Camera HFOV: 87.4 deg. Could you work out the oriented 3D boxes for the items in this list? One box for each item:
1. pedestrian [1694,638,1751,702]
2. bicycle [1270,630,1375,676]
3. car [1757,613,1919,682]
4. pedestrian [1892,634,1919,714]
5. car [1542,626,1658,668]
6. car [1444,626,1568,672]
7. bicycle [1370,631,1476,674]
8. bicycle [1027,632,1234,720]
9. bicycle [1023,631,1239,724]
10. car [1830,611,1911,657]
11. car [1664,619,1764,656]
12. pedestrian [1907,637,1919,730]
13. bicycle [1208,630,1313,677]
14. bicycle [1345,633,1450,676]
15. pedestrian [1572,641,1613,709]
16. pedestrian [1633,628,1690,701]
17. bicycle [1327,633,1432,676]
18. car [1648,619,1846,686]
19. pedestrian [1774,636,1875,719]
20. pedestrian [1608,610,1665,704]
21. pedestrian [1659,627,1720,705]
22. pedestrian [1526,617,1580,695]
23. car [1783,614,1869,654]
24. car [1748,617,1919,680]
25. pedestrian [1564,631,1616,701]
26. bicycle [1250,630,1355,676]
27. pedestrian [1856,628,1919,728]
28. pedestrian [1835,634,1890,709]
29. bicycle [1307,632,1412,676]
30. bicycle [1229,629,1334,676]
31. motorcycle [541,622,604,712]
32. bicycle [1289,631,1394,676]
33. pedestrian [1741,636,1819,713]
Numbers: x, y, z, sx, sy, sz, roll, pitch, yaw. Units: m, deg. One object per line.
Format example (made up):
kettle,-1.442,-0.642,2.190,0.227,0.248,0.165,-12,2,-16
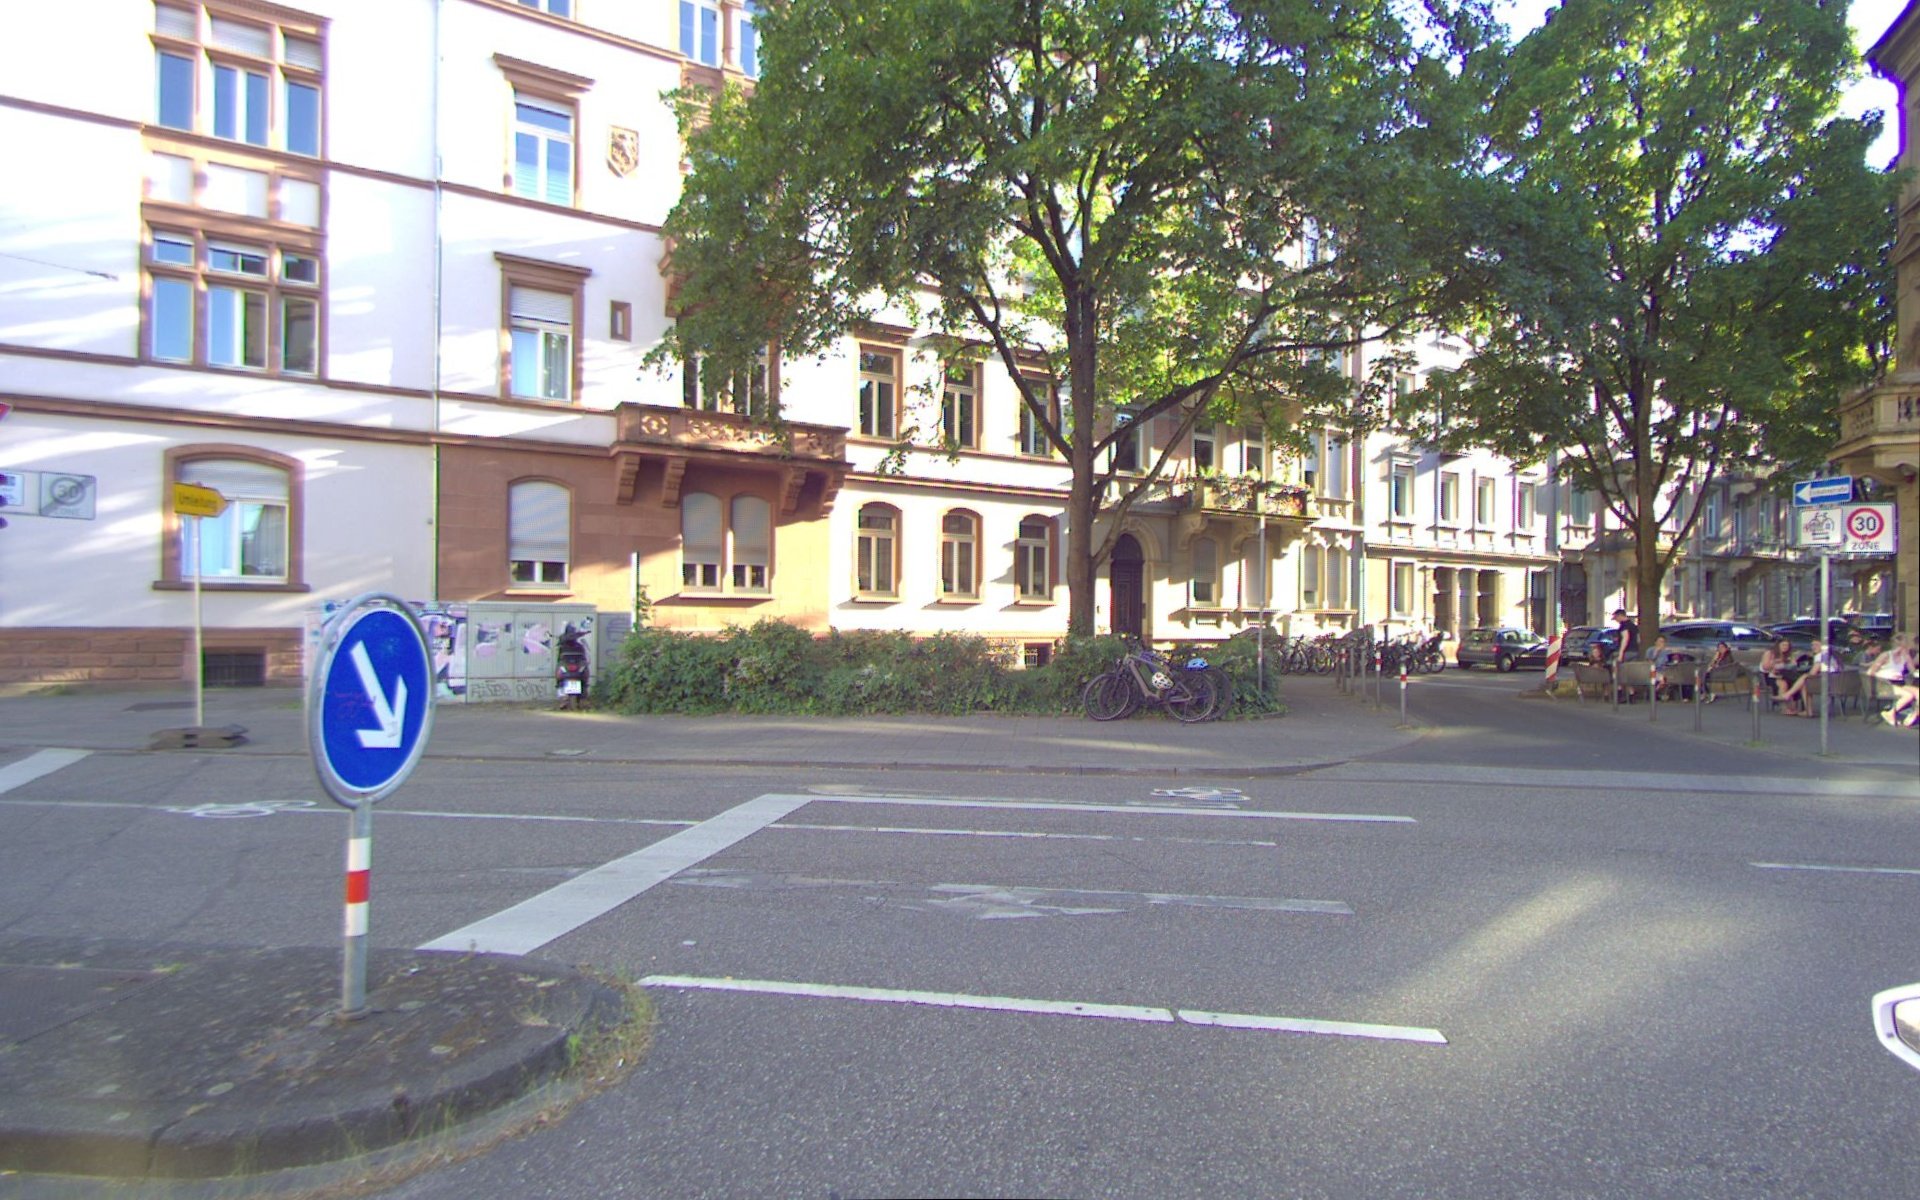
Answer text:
pedestrian,14.905,1.359,19.649,0.664,1.231,0.668,-1,-2,16
bicycle,10.275,1.480,28.658,0.743,1.196,3.113,1,-1,-29
car,23.777,1.225,26.673,3.946,1.706,1.988,-1,-2,45
pedestrian,15.618,1.192,16.342,0.425,1.265,0.482,-1,-1,3
car,22.424,1.620,35.191,3.706,1.394,1.915,1,-1,-29
car,17.877,1.571,32.896,3.706,1.394,1.915,1,-1,-29
bicycle,14.137,1.580,30.813,0.743,1.196,3.113,1,-1,-29
bicycle,2.437,1.079,14.528,2.898,1.212,0.548,0,-1,9
bicycle,2.346,1.054,13.940,2.898,1.212,0.548,0,-1,9
car,43.390,1.622,47.874,3.706,2.112,1.799,1,-1,-29
car,30.116,1.487,40.119,3.706,1.394,1.915,1,-1,-29
pedestrian,13.976,1.181,14.068,0.729,1.306,0.745,0,-1,-5
bicycle,8.143,1.422,27.441,0.743,1.196,3.113,1,-1,-29
bicycle,13.135,1.620,30.288,0.743,1.196,3.113,1,-1,-29
pedestrian,12.731,1.510,20.229,0.560,1.338,0.505,-1,-1,16
pedestrian,14.244,1.301,20.420,0.752,1.460,0.668,-1,-2,17
bicycle,12.416,1.585,29.863,0.743,1.196,3.113,1,-1,-29
car,20.045,1.296,25.796,3.768,1.582,1.800,0,-1,30
pedestrian,13.895,1.225,16.169,0.734,1.265,1.025,-1,-1,2
pedestrian,13.246,1.113,19.690,0.752,1.793,0.572,-1,-2,17
pedestrian,14.074,1.267,19.399,0.752,1.460,0.668,-1,-2,17
pedestrian,12.945,1.222,21.951,0.751,1.691,0.668,0,-2,3
car,38.921,1.520,45.156,3.706,1.706,1.799,1,-1,-29
car,25.284,1.357,28.920,3.934,1.706,1.994,-1,-1,35
pedestrian,13.083,1.365,20.876,0.752,1.430,0.668,-1,-2,19
bicycle,9.593,1.450,28.279,0.743,1.196,3.113,1,-1,-29
pedestrian,14.002,1.140,14.910,0.714,1.429,0.756,0,-1,-7
pedestrian,15.566,1.219,17.331,0.500,1.265,0.482,-1,-1,3
bicycle,11.669,1.549,29.491,0.743,1.196,3.113,1,-1,-29
bicycle,8.857,1.422,27.876,0.743,1.196,3.113,1,-1,-29
motorcycle,-5.955,0.986,15.517,0.830,1.282,2.101,1,-1,-19
bicycle,10.982,1.515,29.078,0.743,1.196,3.113,1,-1,-29
pedestrian,13.927,1.253,17.079,0.734,1.265,0.707,-1,-1,3
